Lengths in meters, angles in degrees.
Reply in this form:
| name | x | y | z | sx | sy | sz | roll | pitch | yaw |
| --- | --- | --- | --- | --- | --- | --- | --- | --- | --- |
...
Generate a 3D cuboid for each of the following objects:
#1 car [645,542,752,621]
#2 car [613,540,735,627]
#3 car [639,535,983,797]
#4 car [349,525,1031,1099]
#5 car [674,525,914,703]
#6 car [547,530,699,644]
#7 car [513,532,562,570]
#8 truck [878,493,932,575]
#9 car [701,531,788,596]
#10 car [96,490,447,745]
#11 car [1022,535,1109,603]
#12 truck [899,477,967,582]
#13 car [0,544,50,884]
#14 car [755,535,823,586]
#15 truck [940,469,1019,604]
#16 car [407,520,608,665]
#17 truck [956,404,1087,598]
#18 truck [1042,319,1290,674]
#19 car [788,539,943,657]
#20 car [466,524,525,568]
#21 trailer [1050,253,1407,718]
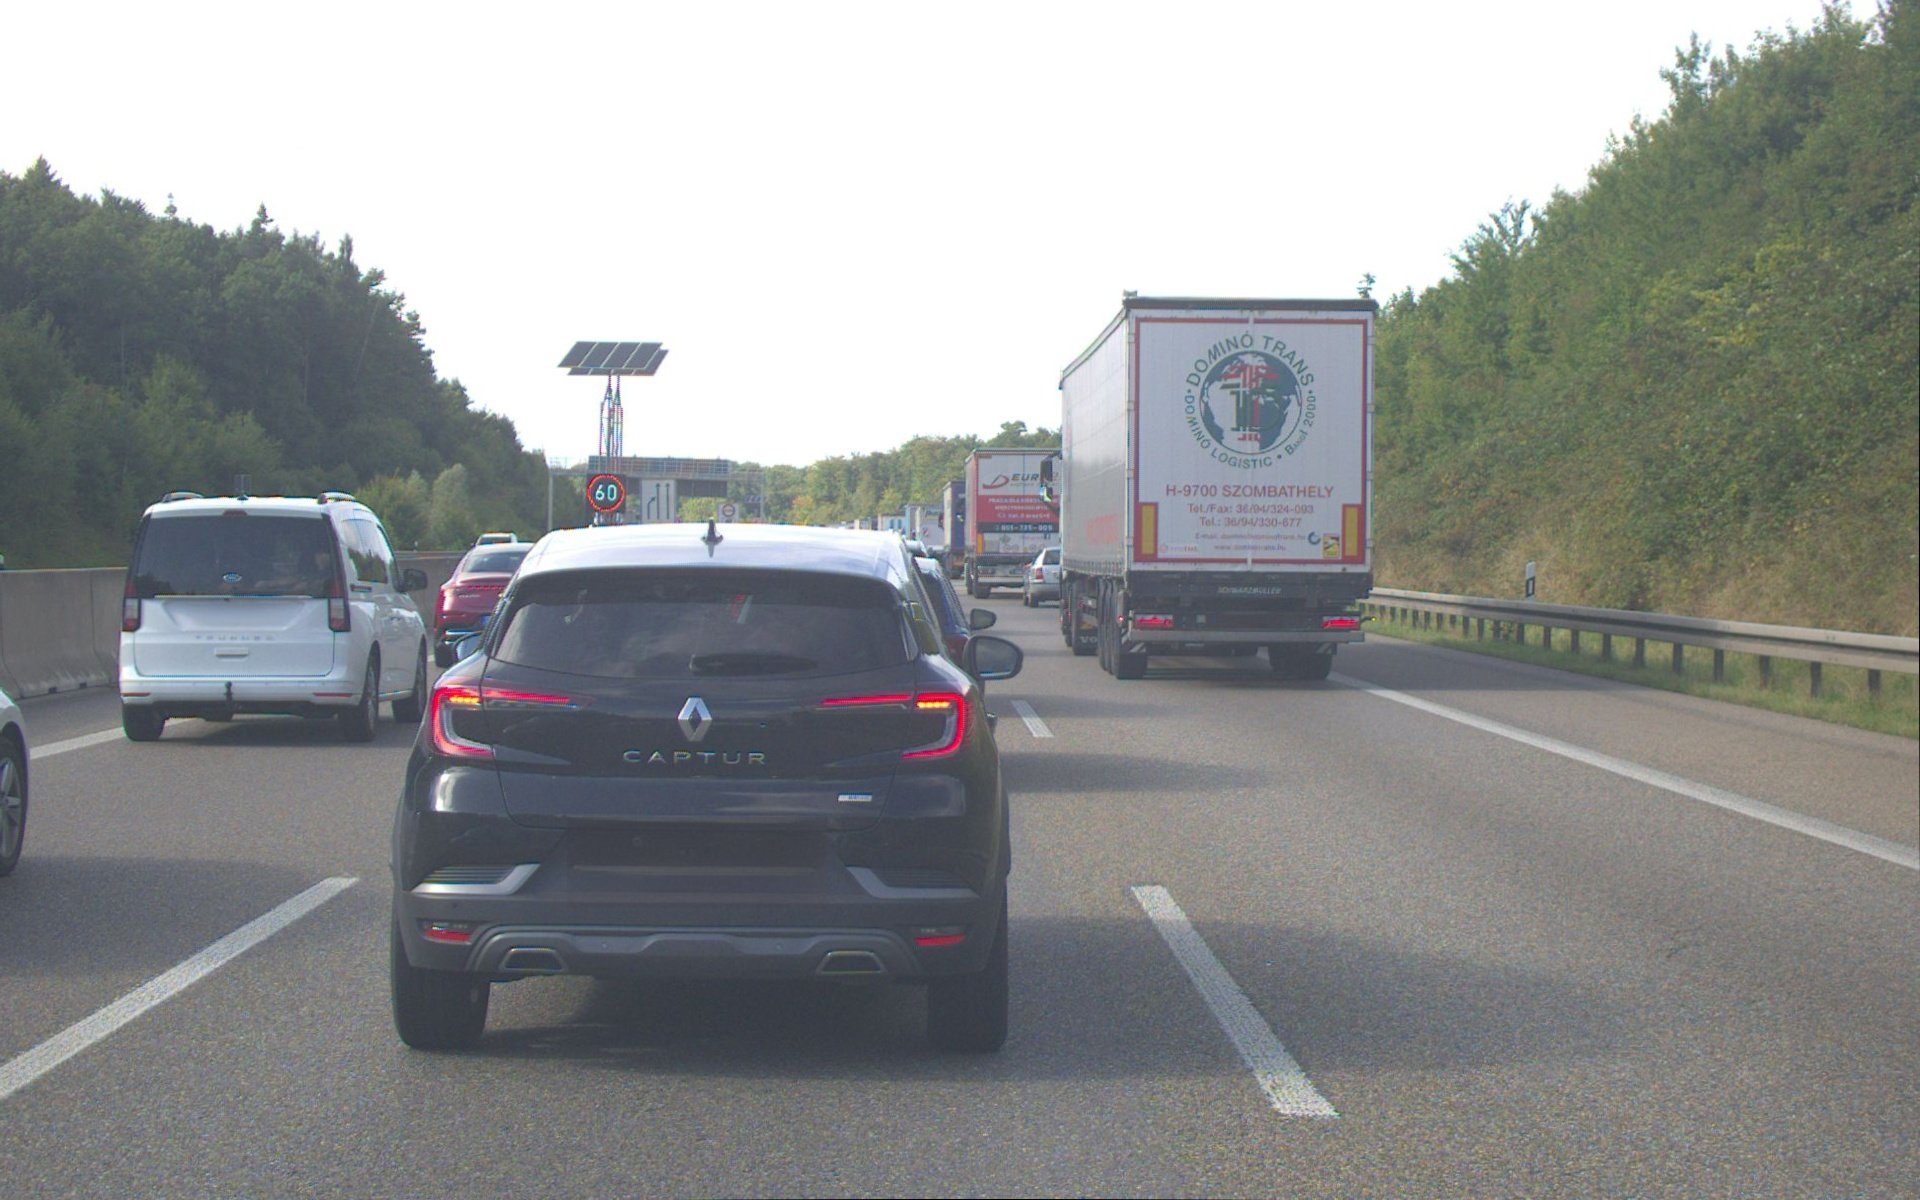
| name | x | y | z | sx | sy | sz | roll | pitch | yaw |
| --- | --- | --- | --- | --- | --- | --- | --- | --- | --- |
| car | -5.578 | -0.406 | 73.731 | 1.993 | 1.607 | 4.000 | 1 | 1 | 0 |
| car | -5.473 | -0.332 | 66.197 | 1.993 | 1.607 | 4.000 | 1 | 1 | 0 |
| car | -0.873 | 0.367 | 22.124 | 1.993 | 1.509 | 4.000 | 1 | 1 | 0 |
| car | -0.694 | 0.543 | 11.304 | 1.805 | 1.547 | 4.000 | 0 | 1 | 2 |
| car | -1.452 | 0.101 | 31.503 | 1.993 | 1.509 | 4.000 | 1 | 1 | 0 |
| car | -5.285 | -0.216 | 54.366 | 1.993 | 1.716 | 4.000 | 1 | 1 | 0 |
| car | -20.572 | -2.419 | 167.613 | 1.852 | 1.803 | 4.925 | 1 | 1 | -1 |
| truck | -3.523 | -4.196 | 222.216 | 3.166 | 5.142 | 12.737 | 1 | 1 | 0 |
| car | -5.507 | -0.946 | 88.257 | 1.993 | 1.607 | 4.000 | 0 | 1 | 0 |
| car | -5.204 | 0.100 | 26.561 | 1.911 | 1.783 | 4.418 | 1 | 1 | -1 |
| car | 2.459 | -0.735 | 80.860 | 1.804 | 1.527 | 3.926 | 1 | 1 | -1 |
| truck | -1.401 | -3.775 | 187.384 | 3.167 | 5.486 | 12.737 | 1 | 1 | 2 |
| car | -5.028 | 0.499 | 13.348 | 1.804 | 1.456 | 4.308 | 0 | 1 | 1 |
| car | -5.500 | -1.294 | 111.141 | 1.993 | 1.607 | 4.000 | 0 | 1 | 0 |
| truck | 0.812 | -2.644 | 146.651 | 3.166 | 5.486 | 12.737 | 1 | 1 | 0 |
| car | -5.375 | -0.107 | 41.293 | 1.855 | 1.635 | 3.926 | 1 | 1 | 0 |
| truck | 1.639 | -2.652 | 96.311 | 3.365 | 5.027 | 12.737 | 1 | 1 | 0 |
| truck | 2.774 | -1.413 | 48.093 | 2.997 | 4.651 | 5.940 | 0 | 1 | -1 |
| car | -1.248 | -0.046 | 46.945 | 1.993 | 1.509 | 4.000 | 1 | 1 | 0 |
| car | -19.463 | -2.274 | 144.173 | 1.852 | 1.803 | 4.925 | 1 | 1 | -1 |
| trailer | 2.868 | -1.274 | 41.156 | 3.002 | 4.645 | 13.291 | 0 | 1 | -1 |
